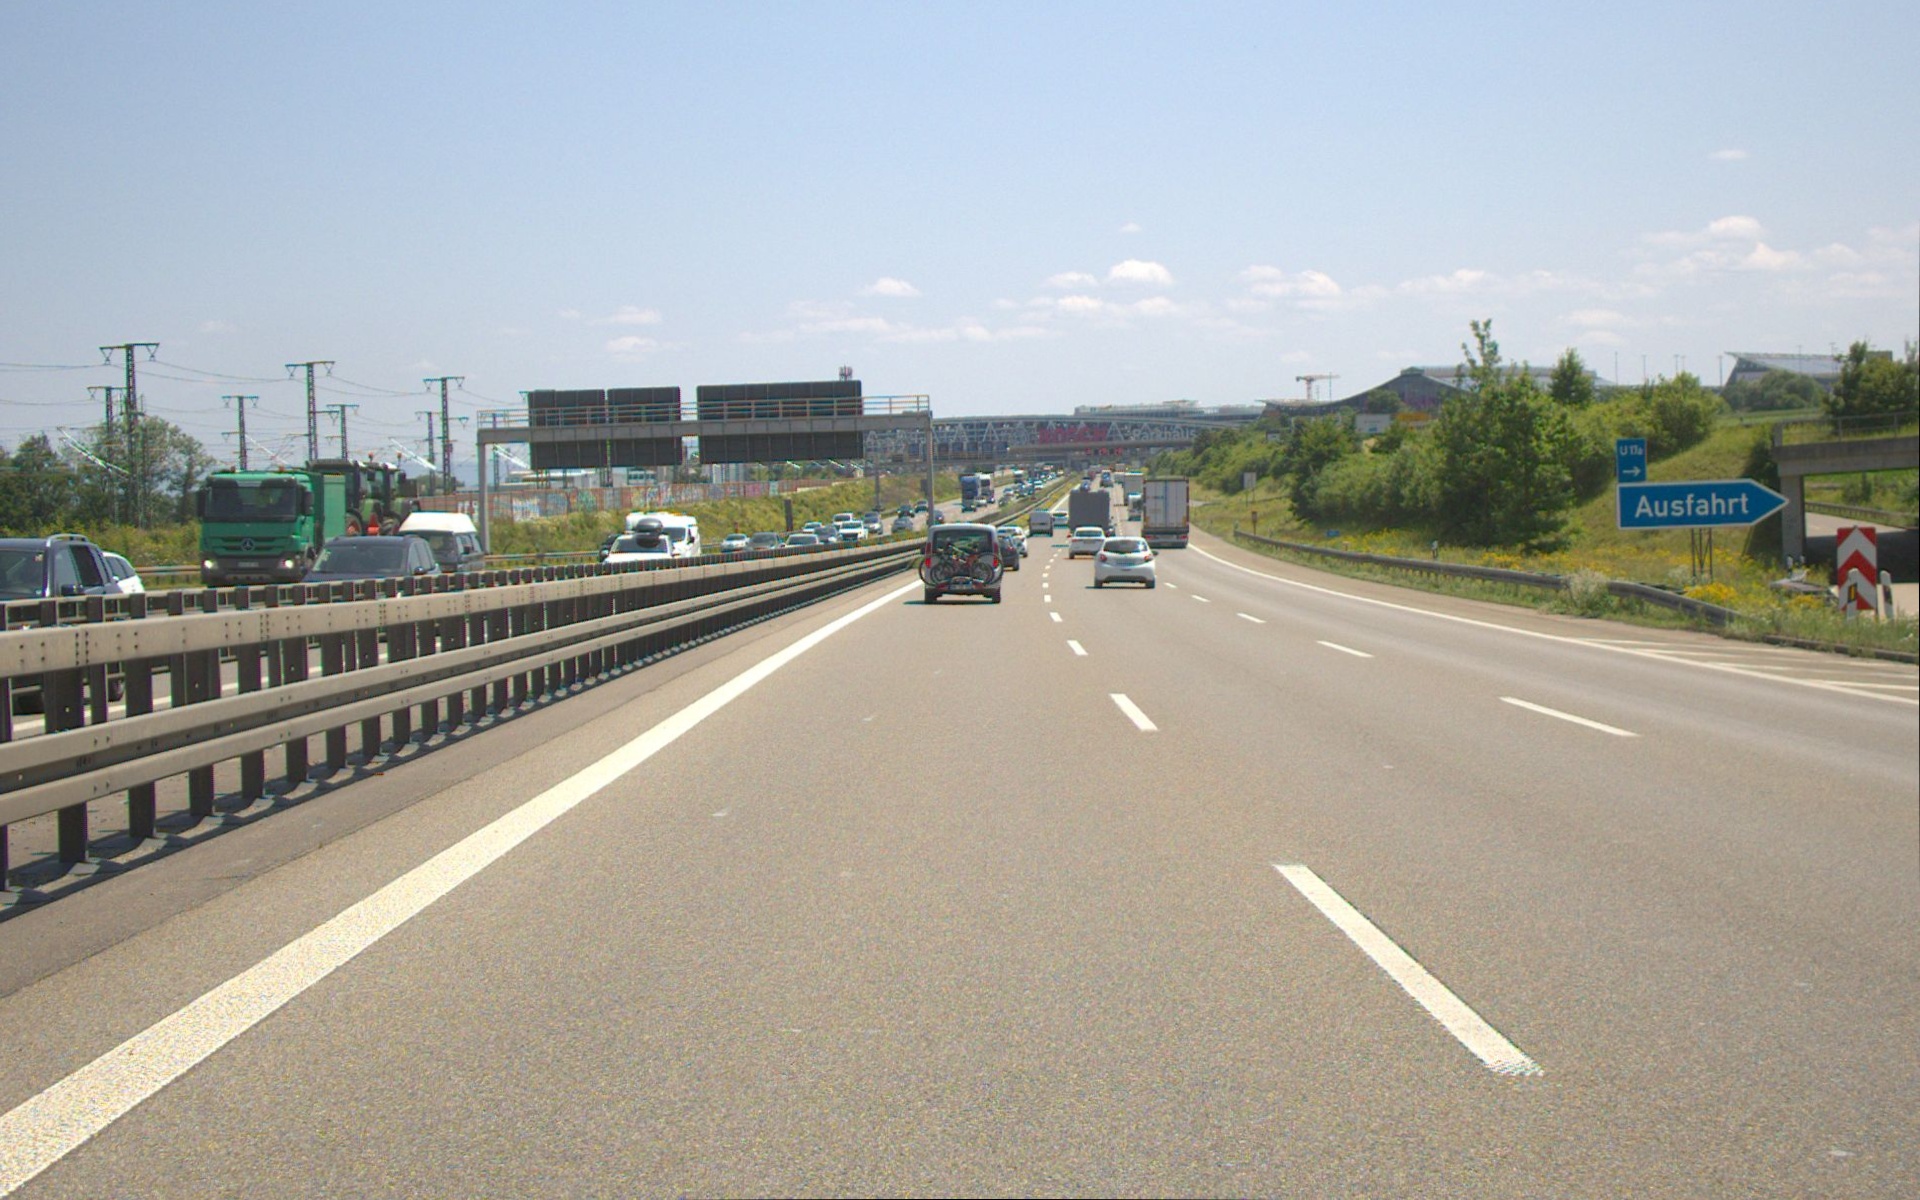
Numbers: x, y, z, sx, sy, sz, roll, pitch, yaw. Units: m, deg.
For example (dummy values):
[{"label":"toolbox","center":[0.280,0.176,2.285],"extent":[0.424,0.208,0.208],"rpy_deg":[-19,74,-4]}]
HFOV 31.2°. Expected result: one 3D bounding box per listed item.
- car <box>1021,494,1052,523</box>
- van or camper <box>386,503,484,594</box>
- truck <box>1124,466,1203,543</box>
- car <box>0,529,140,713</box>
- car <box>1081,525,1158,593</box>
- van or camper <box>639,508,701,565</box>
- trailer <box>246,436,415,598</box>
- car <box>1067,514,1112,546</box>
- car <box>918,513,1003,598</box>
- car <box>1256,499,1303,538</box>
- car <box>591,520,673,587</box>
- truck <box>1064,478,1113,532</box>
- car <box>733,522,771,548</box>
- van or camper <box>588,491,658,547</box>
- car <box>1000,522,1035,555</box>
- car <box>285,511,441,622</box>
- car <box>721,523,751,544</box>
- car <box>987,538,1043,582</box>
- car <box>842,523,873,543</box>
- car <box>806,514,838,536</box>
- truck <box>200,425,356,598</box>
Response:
[{"label":"car","center":[5.685,-6.792,255.401],"extent":[2.186,1.996,4.001],"rpy_deg":[0,4,-1]},{"label":"van or camper","center":[-13.153,-1.309,86.397],"extent":[1.756,2.214,4.942],"rpy_deg":[0,1,-1]},{"label":"truck","center":[11.788,-5.653,200.679],"extent":[4.039,4.247,11.758],"rpy_deg":[0,3,1]},{"label":"car","center":[-9.402,0.142,33.333],"extent":[1.756,1.663,4.698],"rpy_deg":[0,1,0]},{"label":"car","center":[4.556,-1.158,98.704],"extent":[1.926,1.912,4.518],"rpy_deg":[0,0,-1]},{"label":"van or camper","center":[-12.045,-2.654,142.944],"extent":[1.993,2.292,5.894],"rpy_deg":[0,1,1]},{"label":"trailer","center":[-17.391,-2.203,95.732],"extent":[2.759,4.230,11.201],"rpy_deg":[0,0,-1]},{"label":"car","center":[6.092,-3.286,162.004],"extent":[1.982,1.468,4.000],"rpy_deg":[-1,0,1]},{"label":"car","center":[0.013,-1.011,79.716],"extent":[1.926,1.912,4.948],"rpy_deg":[0,0,0]},{"label":"car","center":[16.315,-4.165,175.672],"extent":[1.926,1.912,4.518],"rpy_deg":[0,0,-1]},{"label":"car","center":[-8.944,-1.281,94.098],"extent":[1.807,1.792,4.840],"rpy_deg":[0,1,-1]},{"label":"truck","center":[7.900,-5.829,212.270],"extent":[2.702,3.098,10.659],"rpy_deg":[0,0,1]},{"label":"car","center":[-10.825,-3.379,179.287],"extent":[1.693,1.342,4.000],"rpy_deg":[0,1,1]},{"label":"van or camper","center":[-16.475,-3.961,168.499],"extent":[2.517,2.656,8.064],"rpy_deg":[0,1,1]},{"label":"car","center":[2.825,-2.989,167.766],"extent":[1.576,1.547,3.963],"rpy_deg":[0,0,3]},{"label":"car","center":[-9.693,-0.567,56.127],"extent":[1.756,1.735,4.722],"rpy_deg":[0,1,-1]},{"label":"car","center":[-15.220,-4.526,233.660],"extent":[1.765,1.342,4.000],"rpy_deg":[0,1,1]},{"label":"car","center":[2.102,-1.489,130.310],"extent":[1.927,1.621,4.517],"rpy_deg":[0,0,3]},{"label":"car","center":[-6.898,-4.554,232.323],"extent":[1.947,1.342,4.000],"rpy_deg":[0,1,1]},{"label":"car","center":[-8.463,-4.579,210.654],"extent":[1.765,1.342,4.000],"rpy_deg":[0,1,1]},{"label":"truck","center":[-17.227,-2.171,87.268],"extent":[2.759,4.230,6.978],"rpy_deg":[0,0,-2]}]
